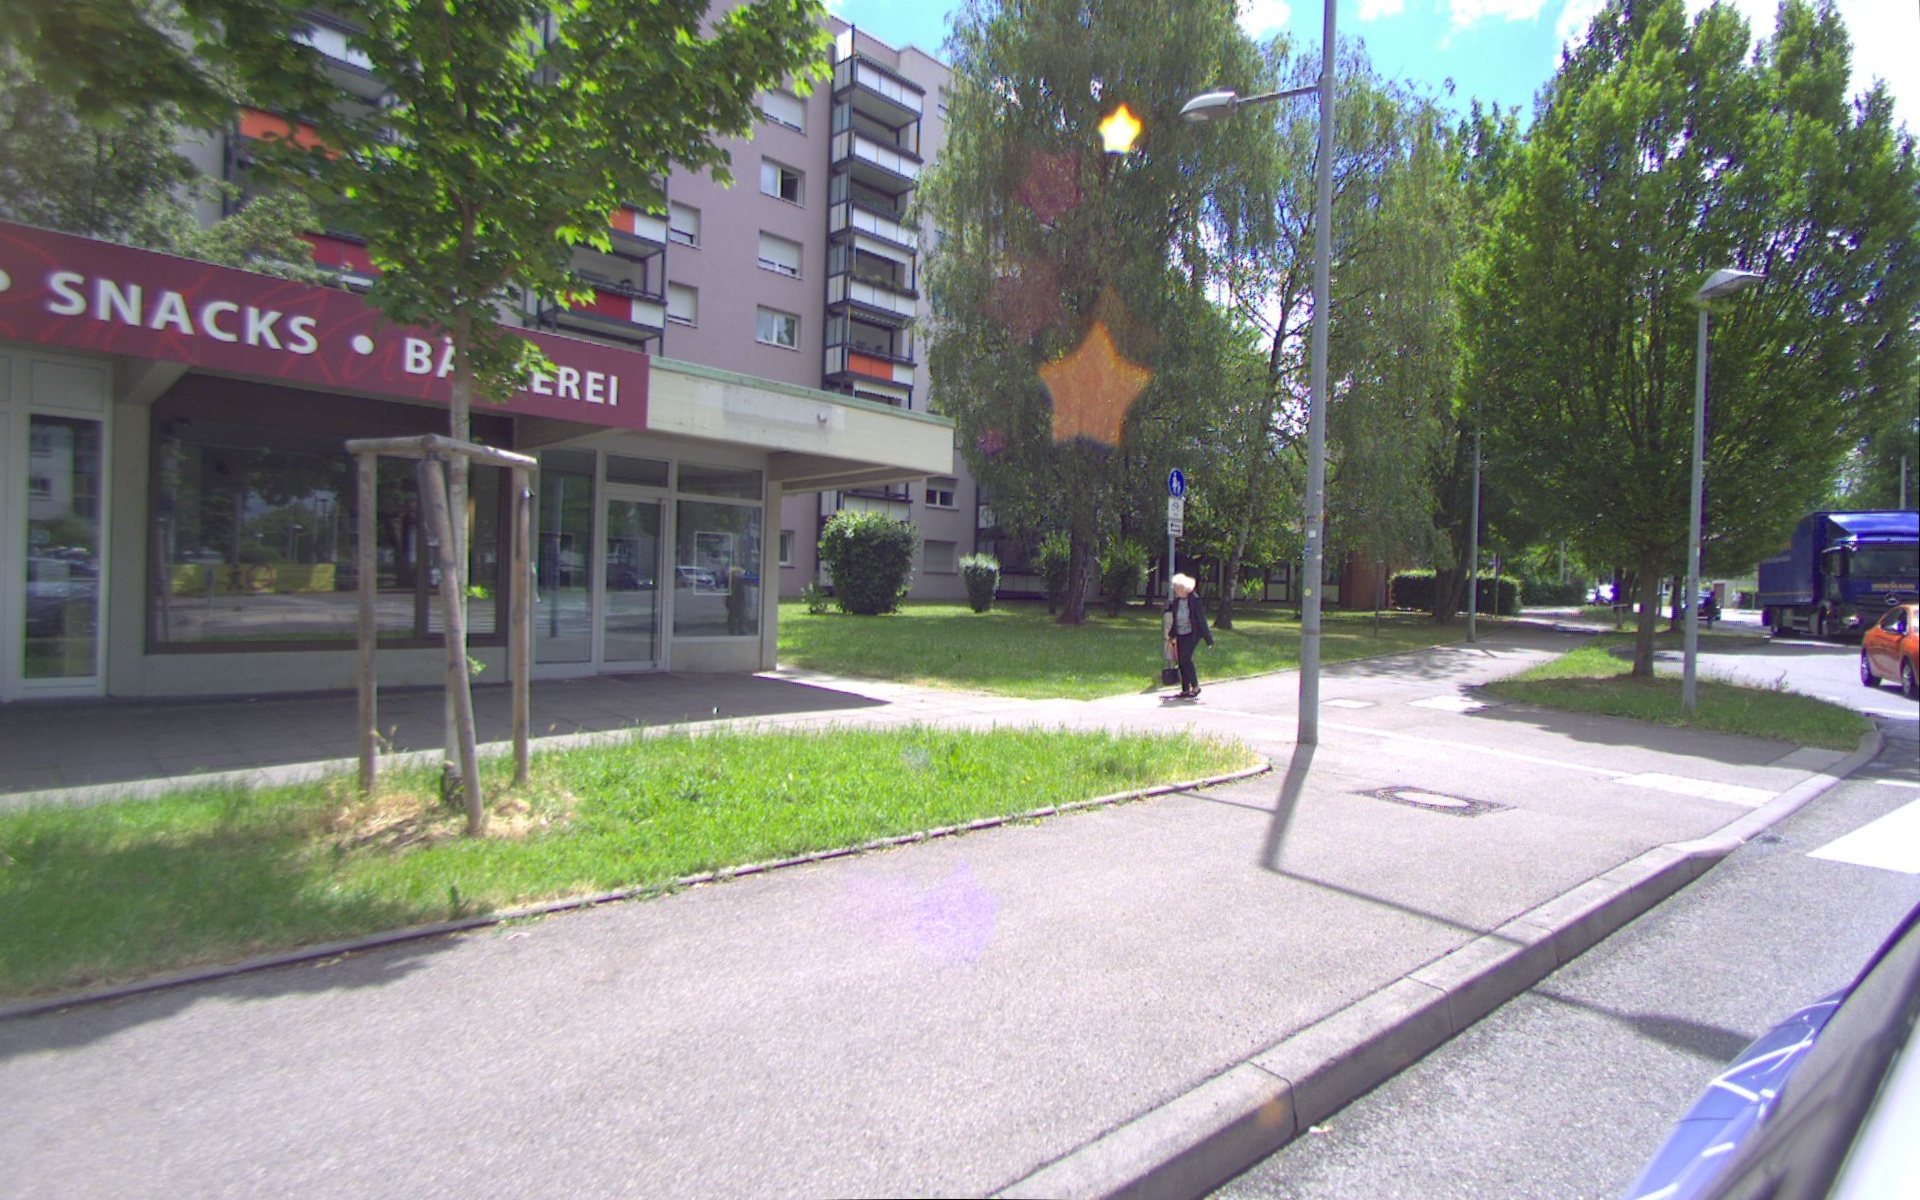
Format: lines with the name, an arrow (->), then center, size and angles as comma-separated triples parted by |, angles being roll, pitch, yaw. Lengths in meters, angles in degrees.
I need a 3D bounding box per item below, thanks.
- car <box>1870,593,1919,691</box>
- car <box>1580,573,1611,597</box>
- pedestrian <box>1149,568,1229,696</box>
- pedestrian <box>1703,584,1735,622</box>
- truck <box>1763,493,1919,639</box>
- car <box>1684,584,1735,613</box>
car -> 15.803, 0.630, 15.801 | 1.700, 1.465, 3.629 | 0, 0, 31
car -> 55.890, -1.320, 89.037 | 1.982, 2.038, 3.961 | 1, 2, 28
pedestrian -> 2.905, 0.384, 12.833 | 0.643, 1.557, 0.726 | 0, 1, -40
pedestrian -> 29.162, 0.111, 38.867 | 0.904, 1.442, 0.692 | 0, 1, -33
truck -> 29.044, -1.058, 32.947 | 2.606, 4.144, 9.518 | 1, 2, 27
car -> 38.751, -0.101, 52.400 | 1.796, 1.371, 3.954 | 2, 2, 32
